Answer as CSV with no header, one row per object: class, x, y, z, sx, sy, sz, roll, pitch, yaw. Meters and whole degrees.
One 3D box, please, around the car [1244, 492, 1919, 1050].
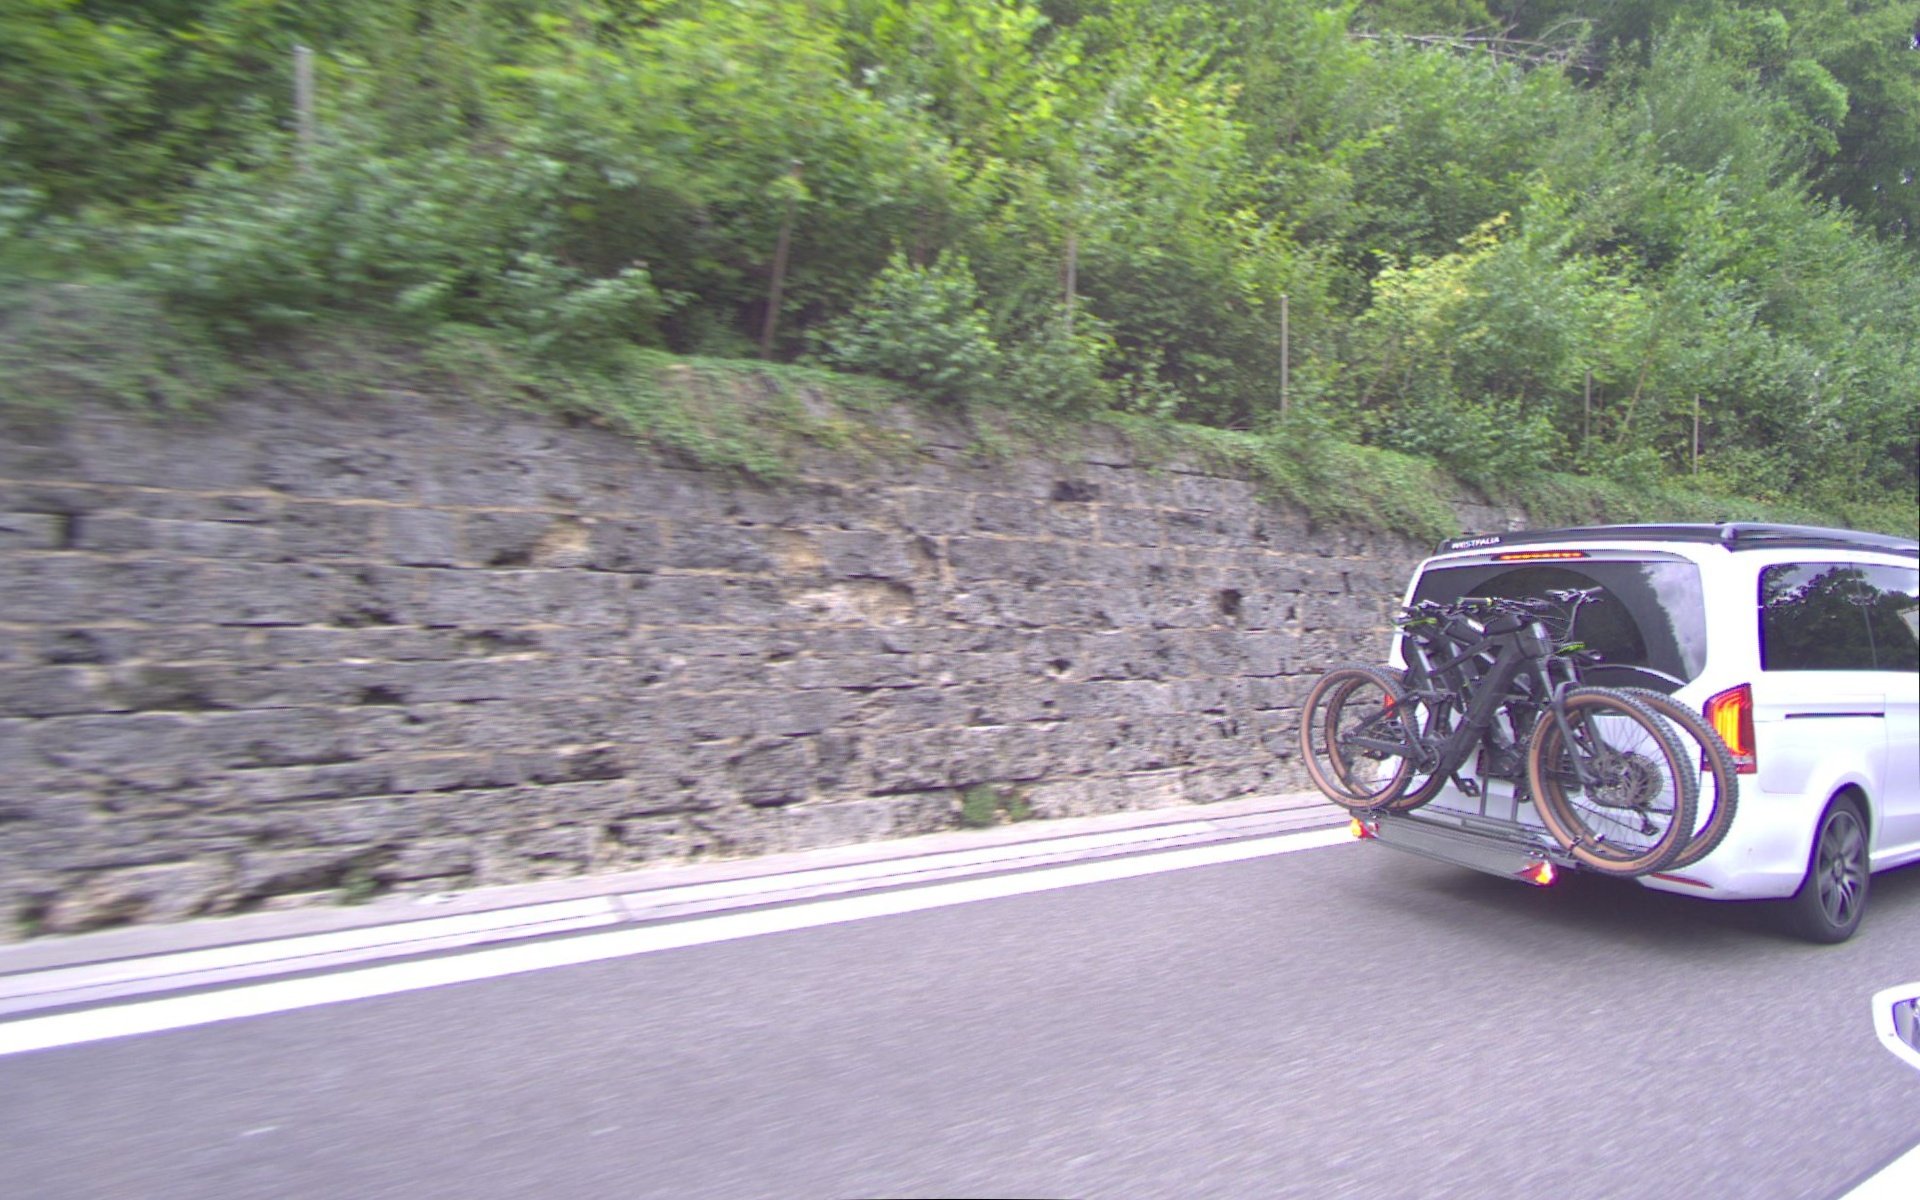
car,4.618,0.638,5.967,6.075,1.979,1.984,1,0,-30
